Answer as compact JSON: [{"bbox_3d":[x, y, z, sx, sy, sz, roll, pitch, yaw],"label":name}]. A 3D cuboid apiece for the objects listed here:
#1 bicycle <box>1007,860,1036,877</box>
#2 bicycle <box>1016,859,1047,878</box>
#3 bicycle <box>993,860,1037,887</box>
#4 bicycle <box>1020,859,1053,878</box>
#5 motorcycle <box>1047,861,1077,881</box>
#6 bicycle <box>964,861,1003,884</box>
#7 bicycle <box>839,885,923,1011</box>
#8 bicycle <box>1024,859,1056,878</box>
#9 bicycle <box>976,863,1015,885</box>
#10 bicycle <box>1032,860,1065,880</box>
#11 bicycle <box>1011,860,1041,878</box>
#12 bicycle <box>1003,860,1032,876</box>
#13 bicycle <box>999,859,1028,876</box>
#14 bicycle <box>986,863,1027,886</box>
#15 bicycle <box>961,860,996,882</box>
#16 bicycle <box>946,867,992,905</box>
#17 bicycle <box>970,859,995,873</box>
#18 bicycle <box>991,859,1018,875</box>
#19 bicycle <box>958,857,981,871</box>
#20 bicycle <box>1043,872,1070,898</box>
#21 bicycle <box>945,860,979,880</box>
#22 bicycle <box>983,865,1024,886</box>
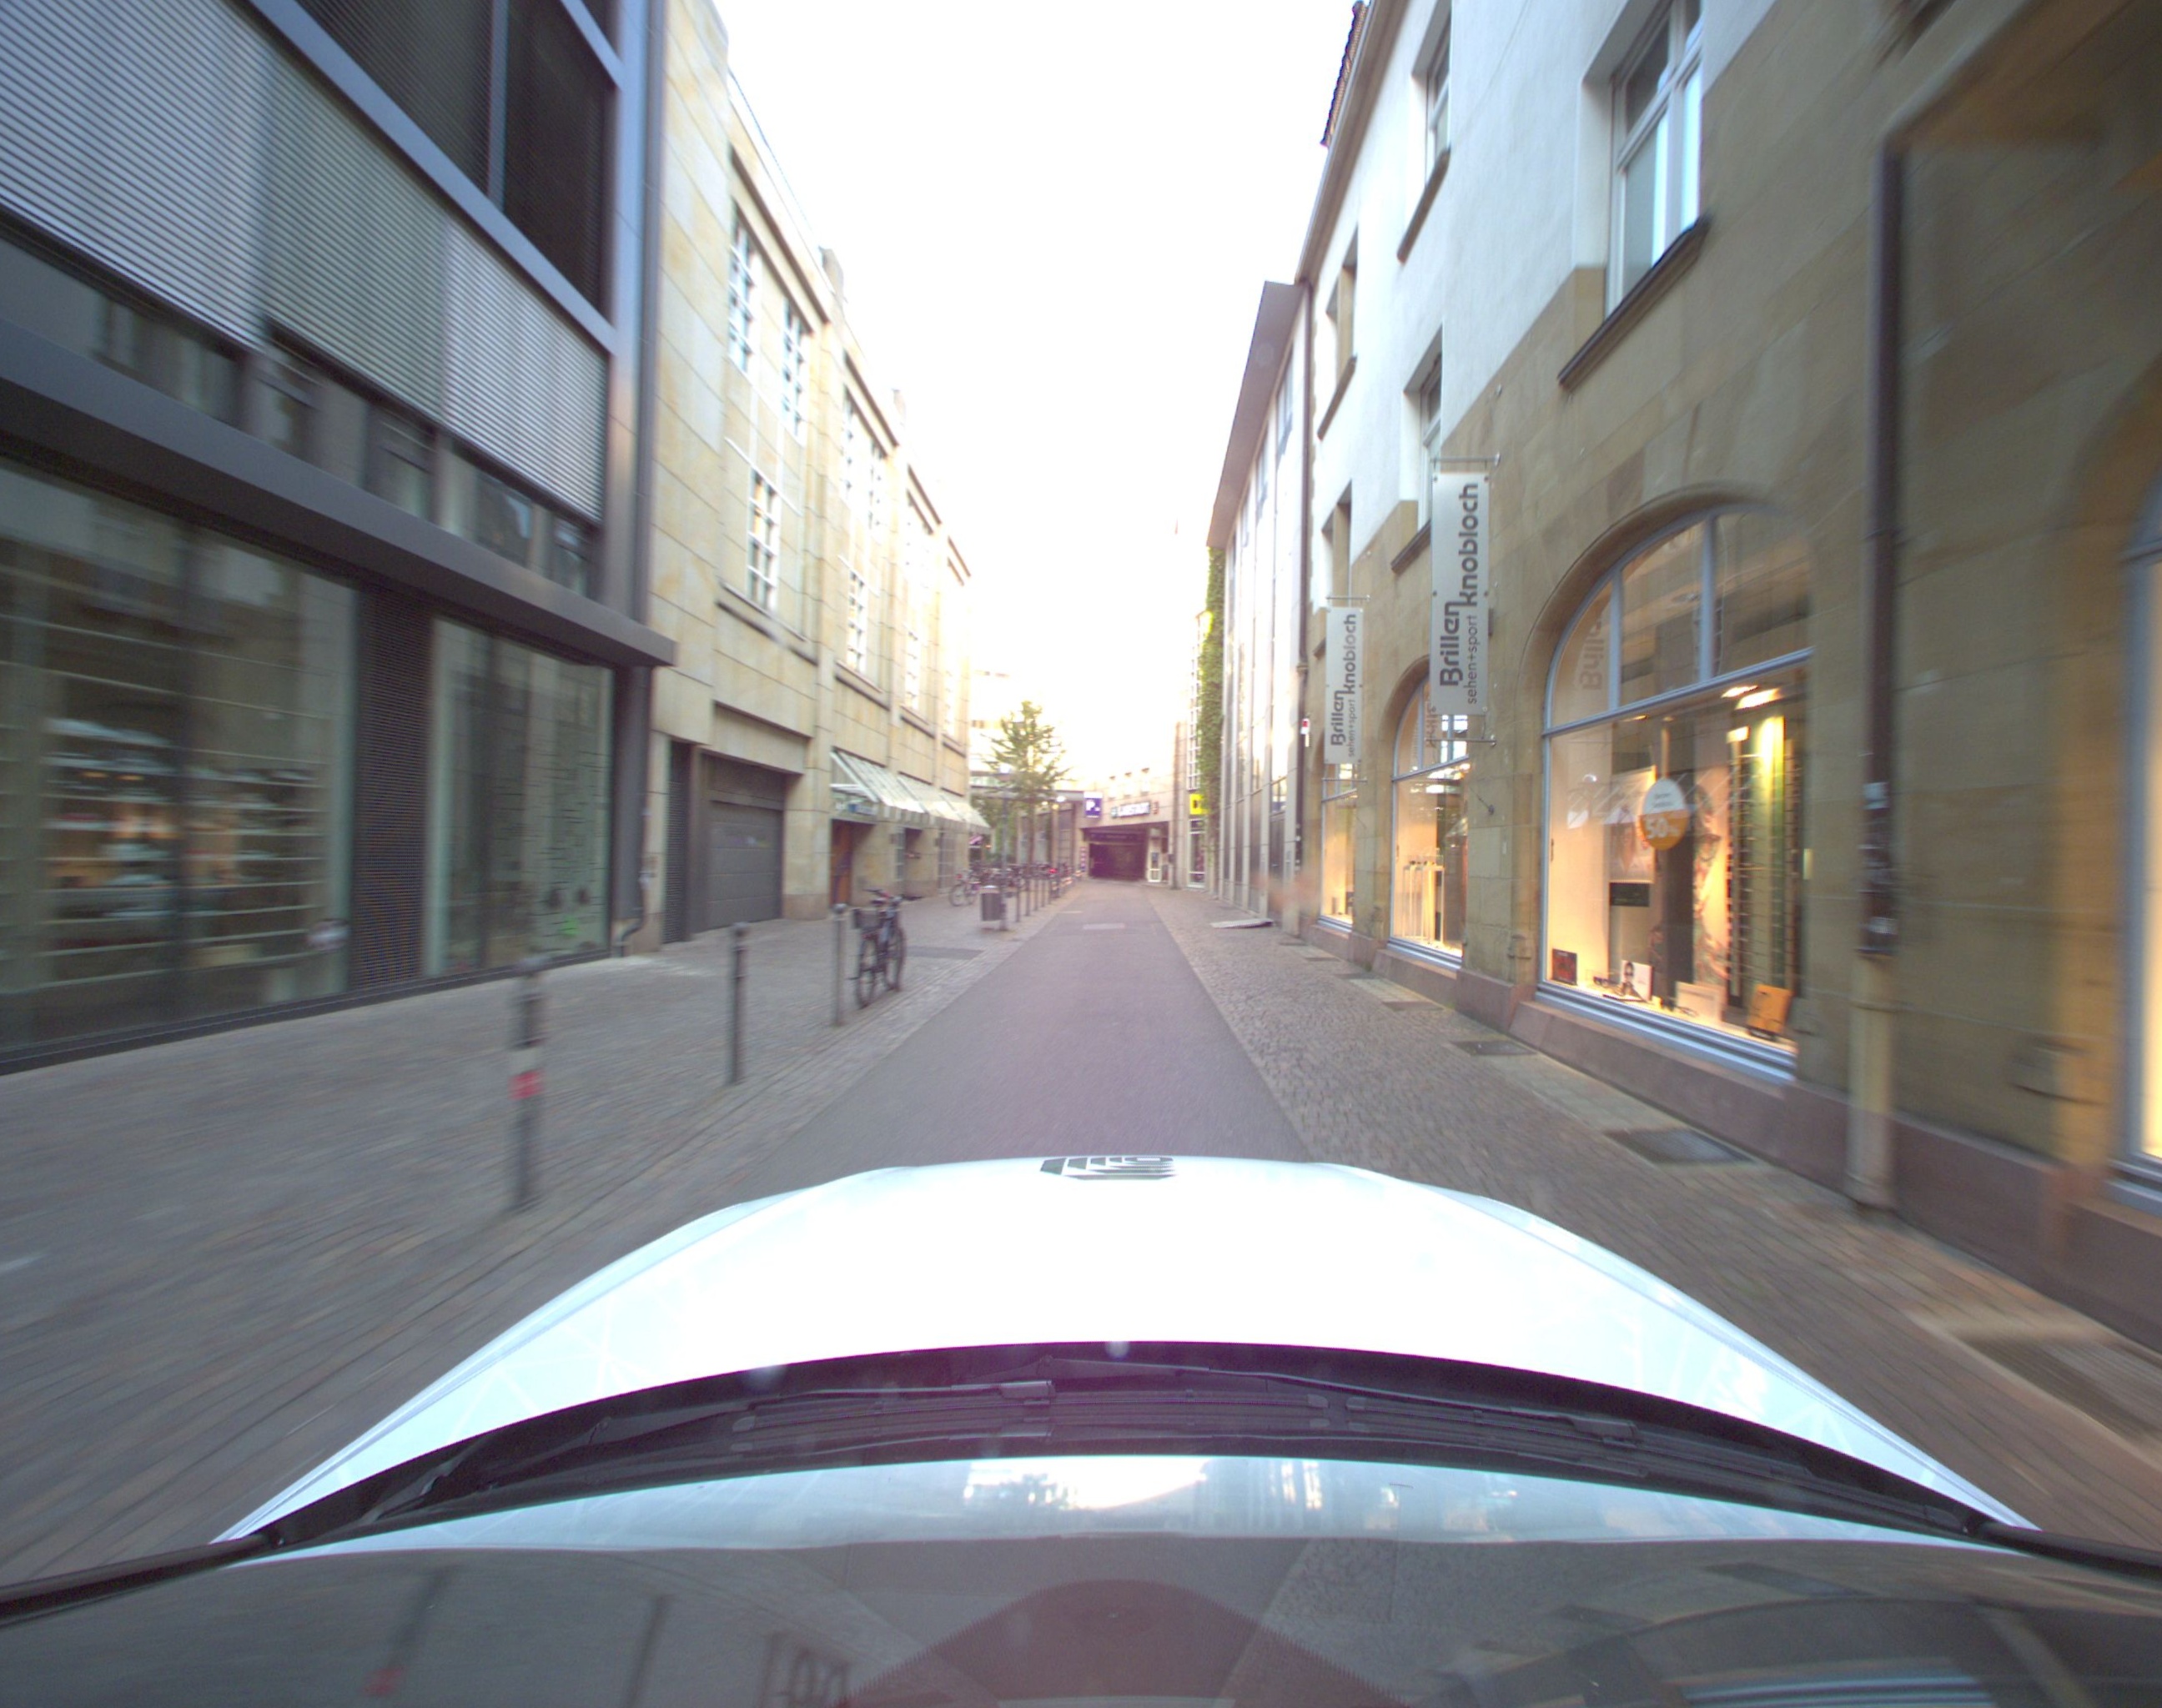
[{"bbox_3d":[-4.288,1.041,58.459,1.998,1.182,0.690,-1,0,-17],"label":"bicycle"},{"bbox_3d":[-3.340,0.977,55.094,1.998,1.182,0.798,-1,0,-17],"label":"bicycle"},{"bbox_3d":[-3.123,0.924,38.317,1.918,1.261,0.804,1,0,-18],"label":"bicycle"},{"bbox_3d":[-2.948,0.973,53.944,1.998,1.182,0.798,-1,0,-17],"label":"bicycle"},{"bbox_3d":[-1.181,1.047,50.456,1.748,1.155,0.591,-1,0,-15],"label":"motorcycle"},{"bbox_3d":[-5.128,0.980,42.818,1.916,1.182,0.692,1,0,-14],"label":"bicycle"},{"bbox_3d":[-2.097,0.936,8.748,0.409,1.132,1.930,1,0,0],"label":"bicycle"},{"bbox_3d":[-2.655,0.964,53.050,1.998,1.182,0.692,-1,0,-17],"label":"bicycle"},{"bbox_3d":[-4.410,1.010,41.889,1.916,1.101,0.692,1,0,-14],"label":"bicycle"},{"bbox_3d":[-2.088,1.024,52.048,1.998,1.182,0.692,-1,0,-17],"label":"bicycle"},{"bbox_3d":[-3.908,1.058,57.561,1.998,1.182,0.690,-1,0,-17],"label":"bicycle"},{"bbox_3d":[-4.645,1.020,59.711,1.998,1.182,0.690,-1,0,-17],"label":"bicycle"},{"bbox_3d":[-5.034,1.010,60.801,1.998,1.182,0.690,-1,0,-17],"label":"bicycle"},{"bbox_3d":[-3.740,1.028,40.675,1.918,1.101,0.692,1,0,-18],"label":"bicycle"},{"bbox_3d":[-5.867,0.970,46.545,1.916,1.182,0.692,1,0,-14],"label":"bicycle"},{"bbox_3d":[-3.431,0.974,25.107,0.688,1.112,1.785,0,0,18],"label":"bicycle"},{"bbox_3d":[-8.311,1.000,68.961,1.998,1.182,0.690,-1,0,-17],"label":"bicycle"},{"bbox_3d":[-5.963,1.036,63.200,1.998,1.182,0.690,-1,0,-17],"label":"bicycle"},{"bbox_3d":[-10.193,0.902,74.339,1.998,1.182,0.690,-1,0,-17],"label":"bicycle"},{"bbox_3d":[-0.944,1.190,31.884,0.501,0.966,1.702,0,0,18],"label":"bicycle"},{"bbox_3d":[-7.051,0.950,48.374,1.916,1.182,0.692,1,0,-14],"label":"bicycle"},{"bbox_3d":[-3.790,1.067,39.756,1.918,0.994,0.692,1,0,-18],"label":"bicycle"}]
